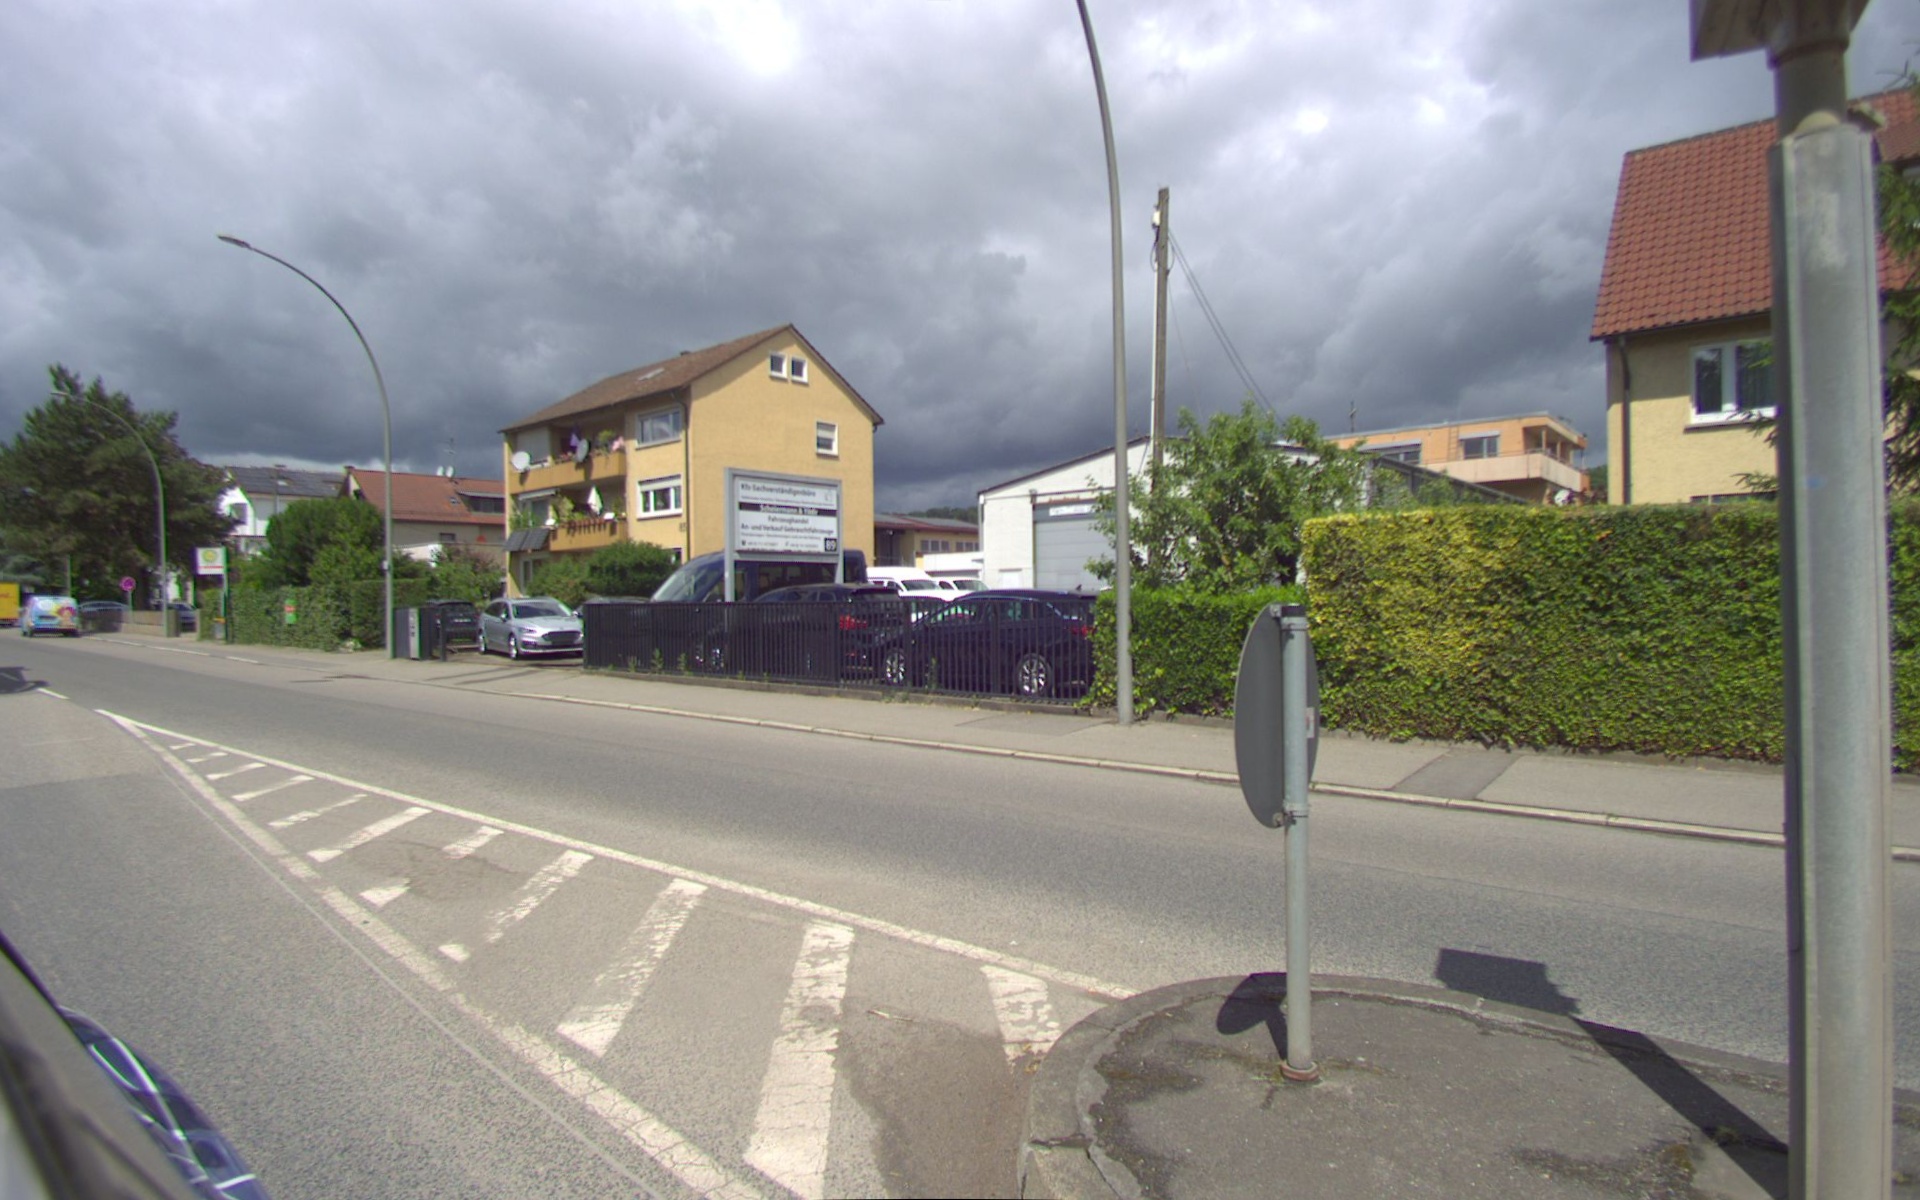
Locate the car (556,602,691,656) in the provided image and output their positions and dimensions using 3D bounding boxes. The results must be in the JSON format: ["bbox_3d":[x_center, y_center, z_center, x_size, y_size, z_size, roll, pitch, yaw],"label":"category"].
[{"bbox_3d":[-9.327,0.741,27.891,4.000,1.352,1.859,0,1,43],"label":"car"}]

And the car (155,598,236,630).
[{"bbox_3d":[-48.629,0.874,64.416,3.957,2.029,1.993,0,0,11],"label":"car"}]

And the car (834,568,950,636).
[{"bbox_3d":[-2.483,0.050,36.252,4.000,2.286,1.972,0,0,43],"label":"car"}]

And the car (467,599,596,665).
[{"bbox_3d":[-10.963,0.741,25.706,1.860,1.470,4.358,-2,1,-39],"label":"car"}]

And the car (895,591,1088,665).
[{"bbox_3d":[0.599,0.543,21.615,4.000,1.423,1.715,0,1,43],"label":"car"}]

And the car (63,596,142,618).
[{"bbox_3d":[-70.058,0.542,82.695,2.217,1.691,4.673,0,1,41],"label":"car"}]

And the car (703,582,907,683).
[{"bbox_3d":[-2.860,0.522,18.274,3.621,1.633,1.789,0,1,43],"label":"car"}]

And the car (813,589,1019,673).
[{"bbox_3d":[-0.945,0.543,19.998,4.000,1.470,1.794,0,1,43],"label":"car"}]

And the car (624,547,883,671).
[{"bbox_3d":[-4.378,0.145,22.164,2.105,2.402,5.290,0,1,44],"label":"car"}]

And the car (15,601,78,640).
[{"bbox_3d":[-42.148,0.899,46.674,3.998,1.693,1.707,0,0,41],"label":"car"}]

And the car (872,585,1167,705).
[{"bbox_3d":[0.763,0.551,14.694,4.043,1.494,1.839,0,1,42],"label":"car"}]

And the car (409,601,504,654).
[{"bbox_3d":[-17.221,0.901,34.568,3.523,1.678,1.806,0,1,43],"label":"car"}]

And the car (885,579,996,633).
[{"bbox_3d":[-0.777,0.200,38.302,4.000,1.941,1.972,0,1,43],"label":"car"}]

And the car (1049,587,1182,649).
[{"bbox_3d":[5.154,0.549,33.881,4.000,1.941,1.972,0,1,43],"label":"car"}]

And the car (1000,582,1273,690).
[{"bbox_3d":[2.811,0.503,16.601,4.000,1.552,1.972,0,1,43],"label":"car"}]
